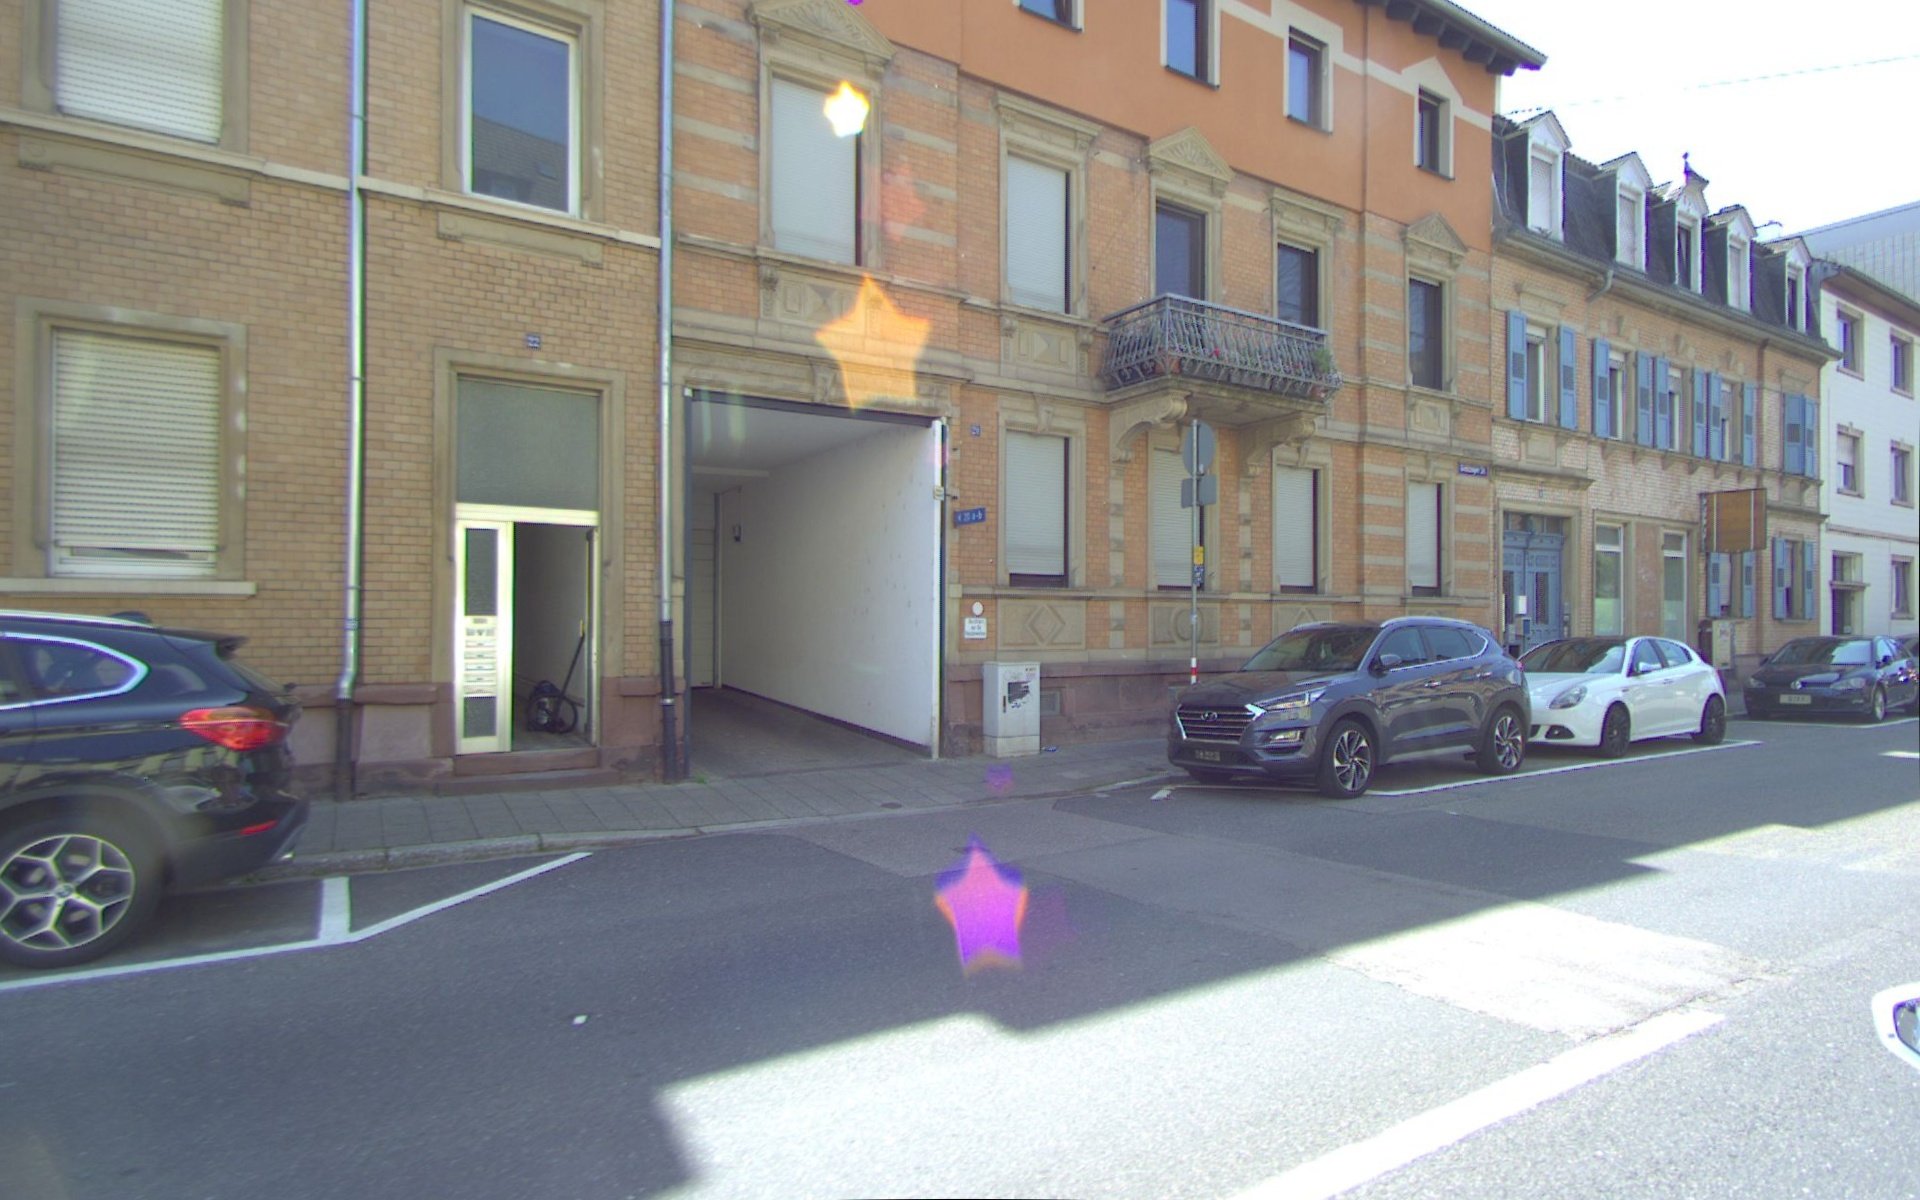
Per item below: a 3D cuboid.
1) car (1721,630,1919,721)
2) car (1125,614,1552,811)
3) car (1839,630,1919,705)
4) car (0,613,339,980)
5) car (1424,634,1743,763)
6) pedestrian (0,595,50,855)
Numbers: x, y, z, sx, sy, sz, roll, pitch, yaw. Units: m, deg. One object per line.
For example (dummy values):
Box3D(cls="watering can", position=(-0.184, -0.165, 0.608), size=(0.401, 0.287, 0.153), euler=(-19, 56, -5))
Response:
Box3D(cls="car", position=(15.481, 1.297, 17.859), size=(4.288, 1.424, 1.853), euler=(1, -5, -35))
Box3D(cls="car", position=(4.016, 1.043, 10.442), size=(4.452, 1.648, 1.855), euler=(1, -5, -33))
Box3D(cls="car", position=(20.080, 1.339, 20.657), size=(4.789, 1.424, 1.854), euler=(1, -5, -35))
Box3D(cls="car", position=(-5.464, 0.892, 4.573), size=(4.452, 1.571, 1.855), euler=(1, -5, -33))
Box3D(cls="car", position=(8.288, 1.211, 13.262), size=(4.283, 1.444, 1.855), euler=(1, -5, -32))
Box3D(cls="pedestrian", position=(-6.286, 0.750, 6.139), size=(0.864, 1.555, 0.800), euler=(1, -1, -27))
